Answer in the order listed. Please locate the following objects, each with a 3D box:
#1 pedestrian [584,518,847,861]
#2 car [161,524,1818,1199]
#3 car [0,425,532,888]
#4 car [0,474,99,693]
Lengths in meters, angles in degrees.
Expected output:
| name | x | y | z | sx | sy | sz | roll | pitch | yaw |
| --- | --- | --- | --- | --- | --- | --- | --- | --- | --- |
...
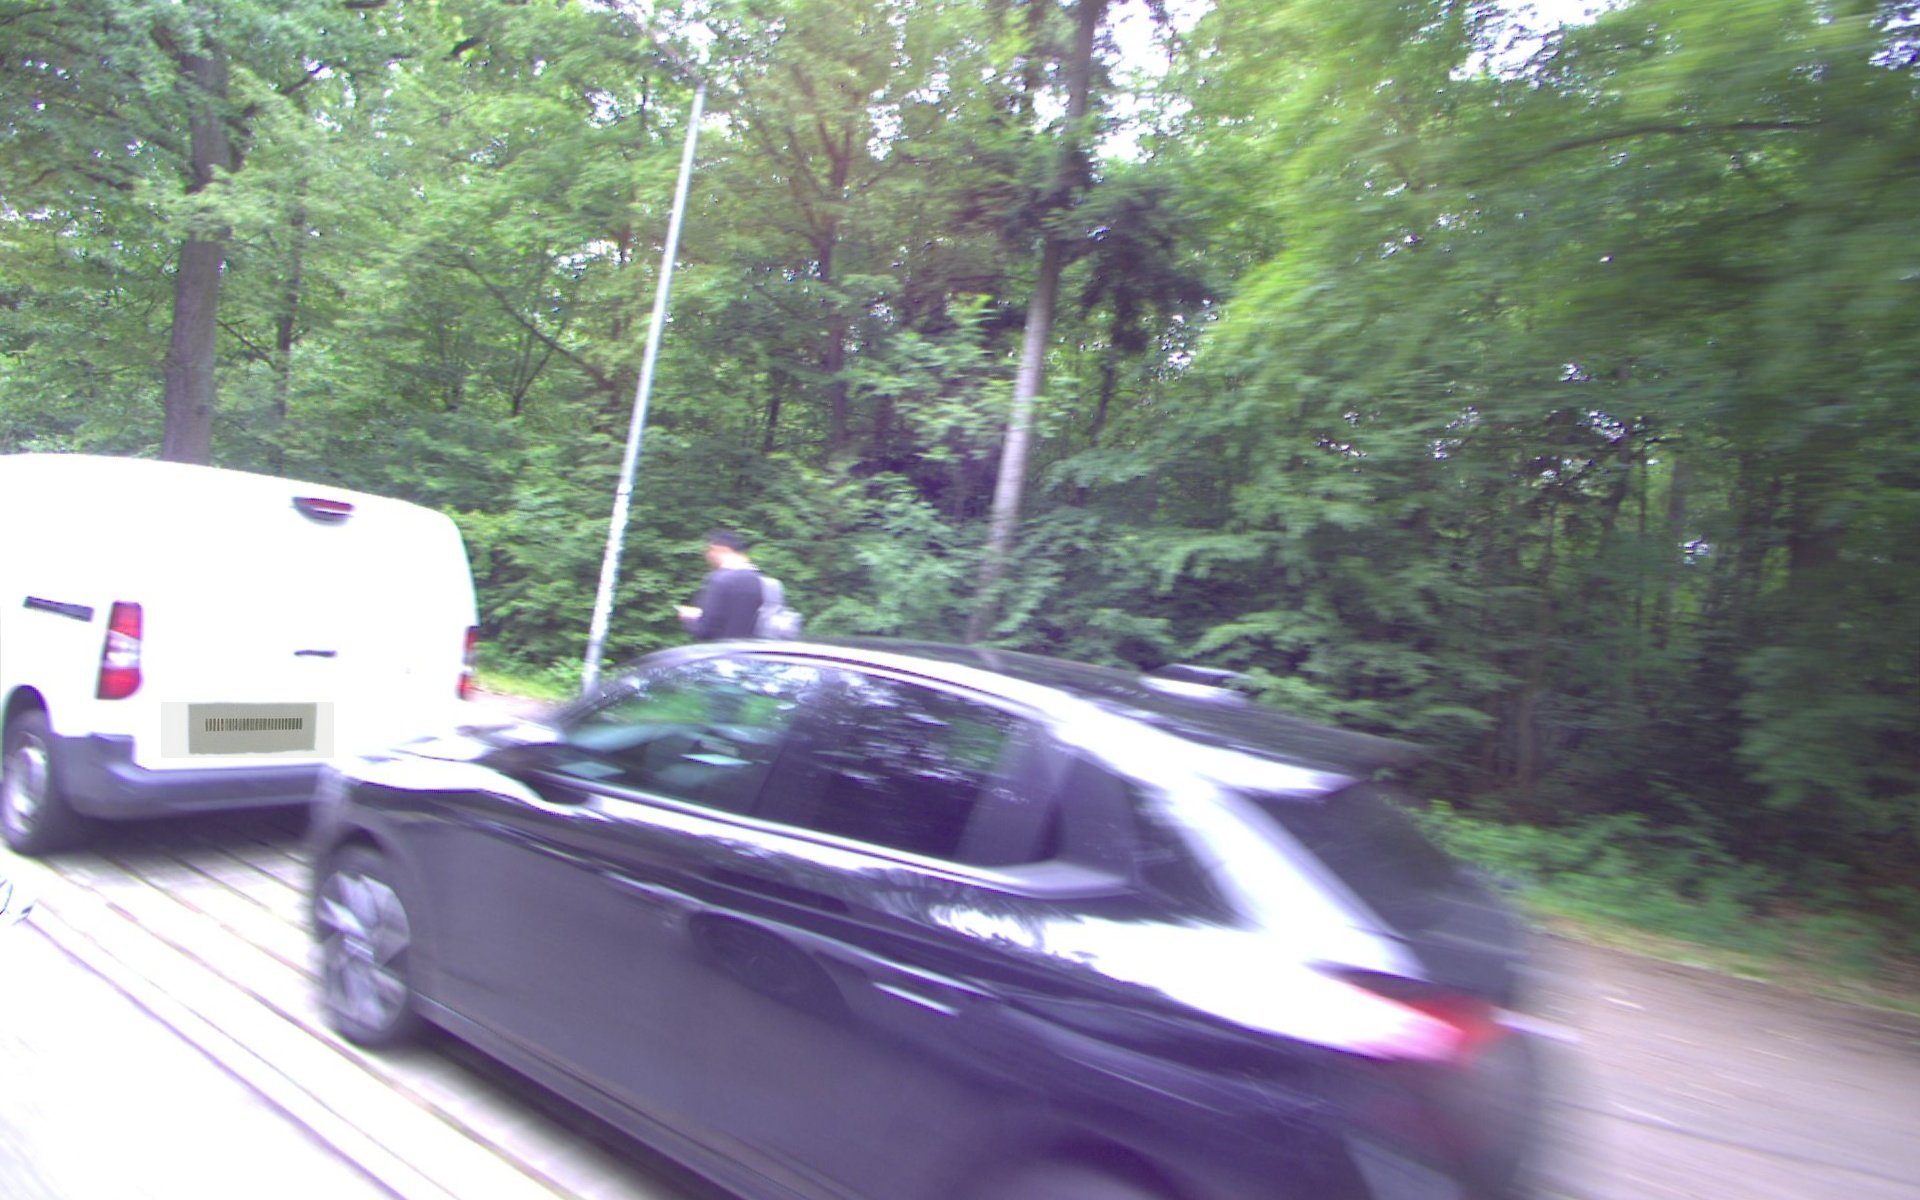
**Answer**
| name | x | y | z | sx | sy | sz | roll | pitch | yaw |
| --- | --- | --- | --- | --- | --- | --- | --- | --- | --- |
| pedestrian | -1.408 | 0.487 | 5.850 | 0.987 | 1.745 | 0.819 | 7 | -2 | 31 |
| car | -0.401 | 0.760 | 3.054 | 4.213 | 1.439 | 1.729 | 7 | -2 | 32 |
| car | -4.804 | 0.087 | 5.810 | 4.474 | 1.801 | 1.749 | 7 | -2 | 29 |
| car | -9.606 | -0.411 | 8.557 | 4.636 | 1.681 | 1.791 | 7 | -2 | 28 |
